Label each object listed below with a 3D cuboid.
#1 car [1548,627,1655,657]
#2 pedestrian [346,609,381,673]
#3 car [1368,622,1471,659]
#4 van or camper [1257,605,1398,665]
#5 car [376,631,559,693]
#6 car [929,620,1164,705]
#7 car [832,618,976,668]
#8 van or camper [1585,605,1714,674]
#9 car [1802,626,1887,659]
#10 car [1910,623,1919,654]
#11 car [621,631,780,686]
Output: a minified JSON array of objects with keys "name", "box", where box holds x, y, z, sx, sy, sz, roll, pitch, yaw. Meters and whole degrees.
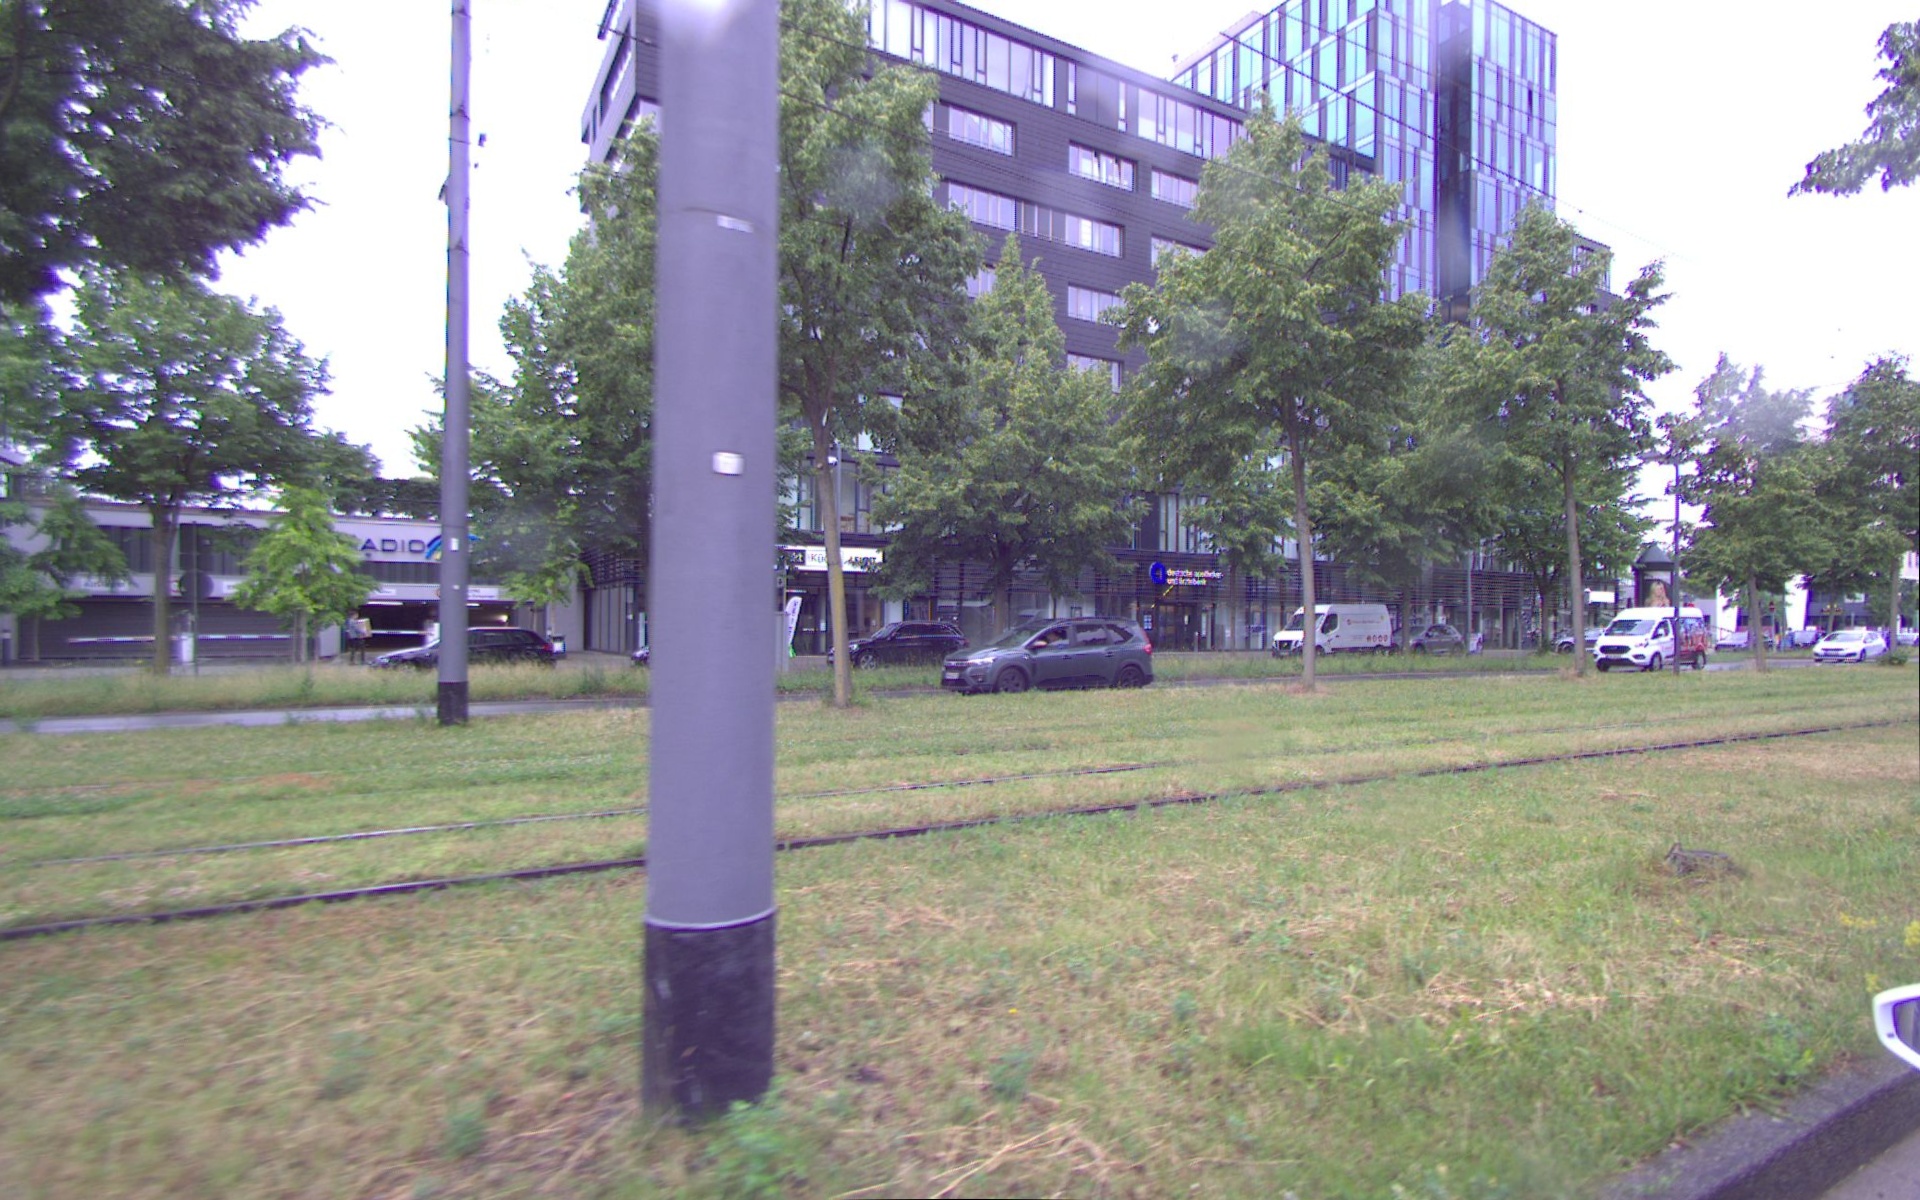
[{"name":"car","box":[34.988,2.266,54.927,4.590,1.542,2.000,0,-1,21]},{"name":"pedestrian","box":[-18.995,1.286,31.997,0.843,2.007,0.793,0,0,-22]},{"name":"car","box":[20.430,1.776,44.597,4.555,1.542,1.983,1,-1,-32]},{"name":"van or camper","box":[15.247,1.408,41.581,5.781,2.346,2.421,1,-1,-30]},{"name":"car","box":[-12.277,1.495,25.086,3.953,1.397,1.984,1,-1,-30]},{"name":"car","box":[1.758,1.170,20.022,4.426,1.544,1.854,1,-1,-30]},{"name":"car","box":[-1.710,1.308,31.280,4.192,1.468,1.694,1,-1,-31]},{"name":"van or camper","box":[25.929,1.452,37.738,5.338,2.442,1.900,1,-1,-30]},{"name":"car","box":[41.509,1.954,47.150,3.953,1.479,1.876,1,-1,-31]},{"name":"car","box":[44.936,1.741,45.527,3.953,1.423,1.702,1,-1,-31]},{"name":"car","box":[-7.267,1.597,28.153,3.953,1.397,1.984,1,-1,-30]}]
